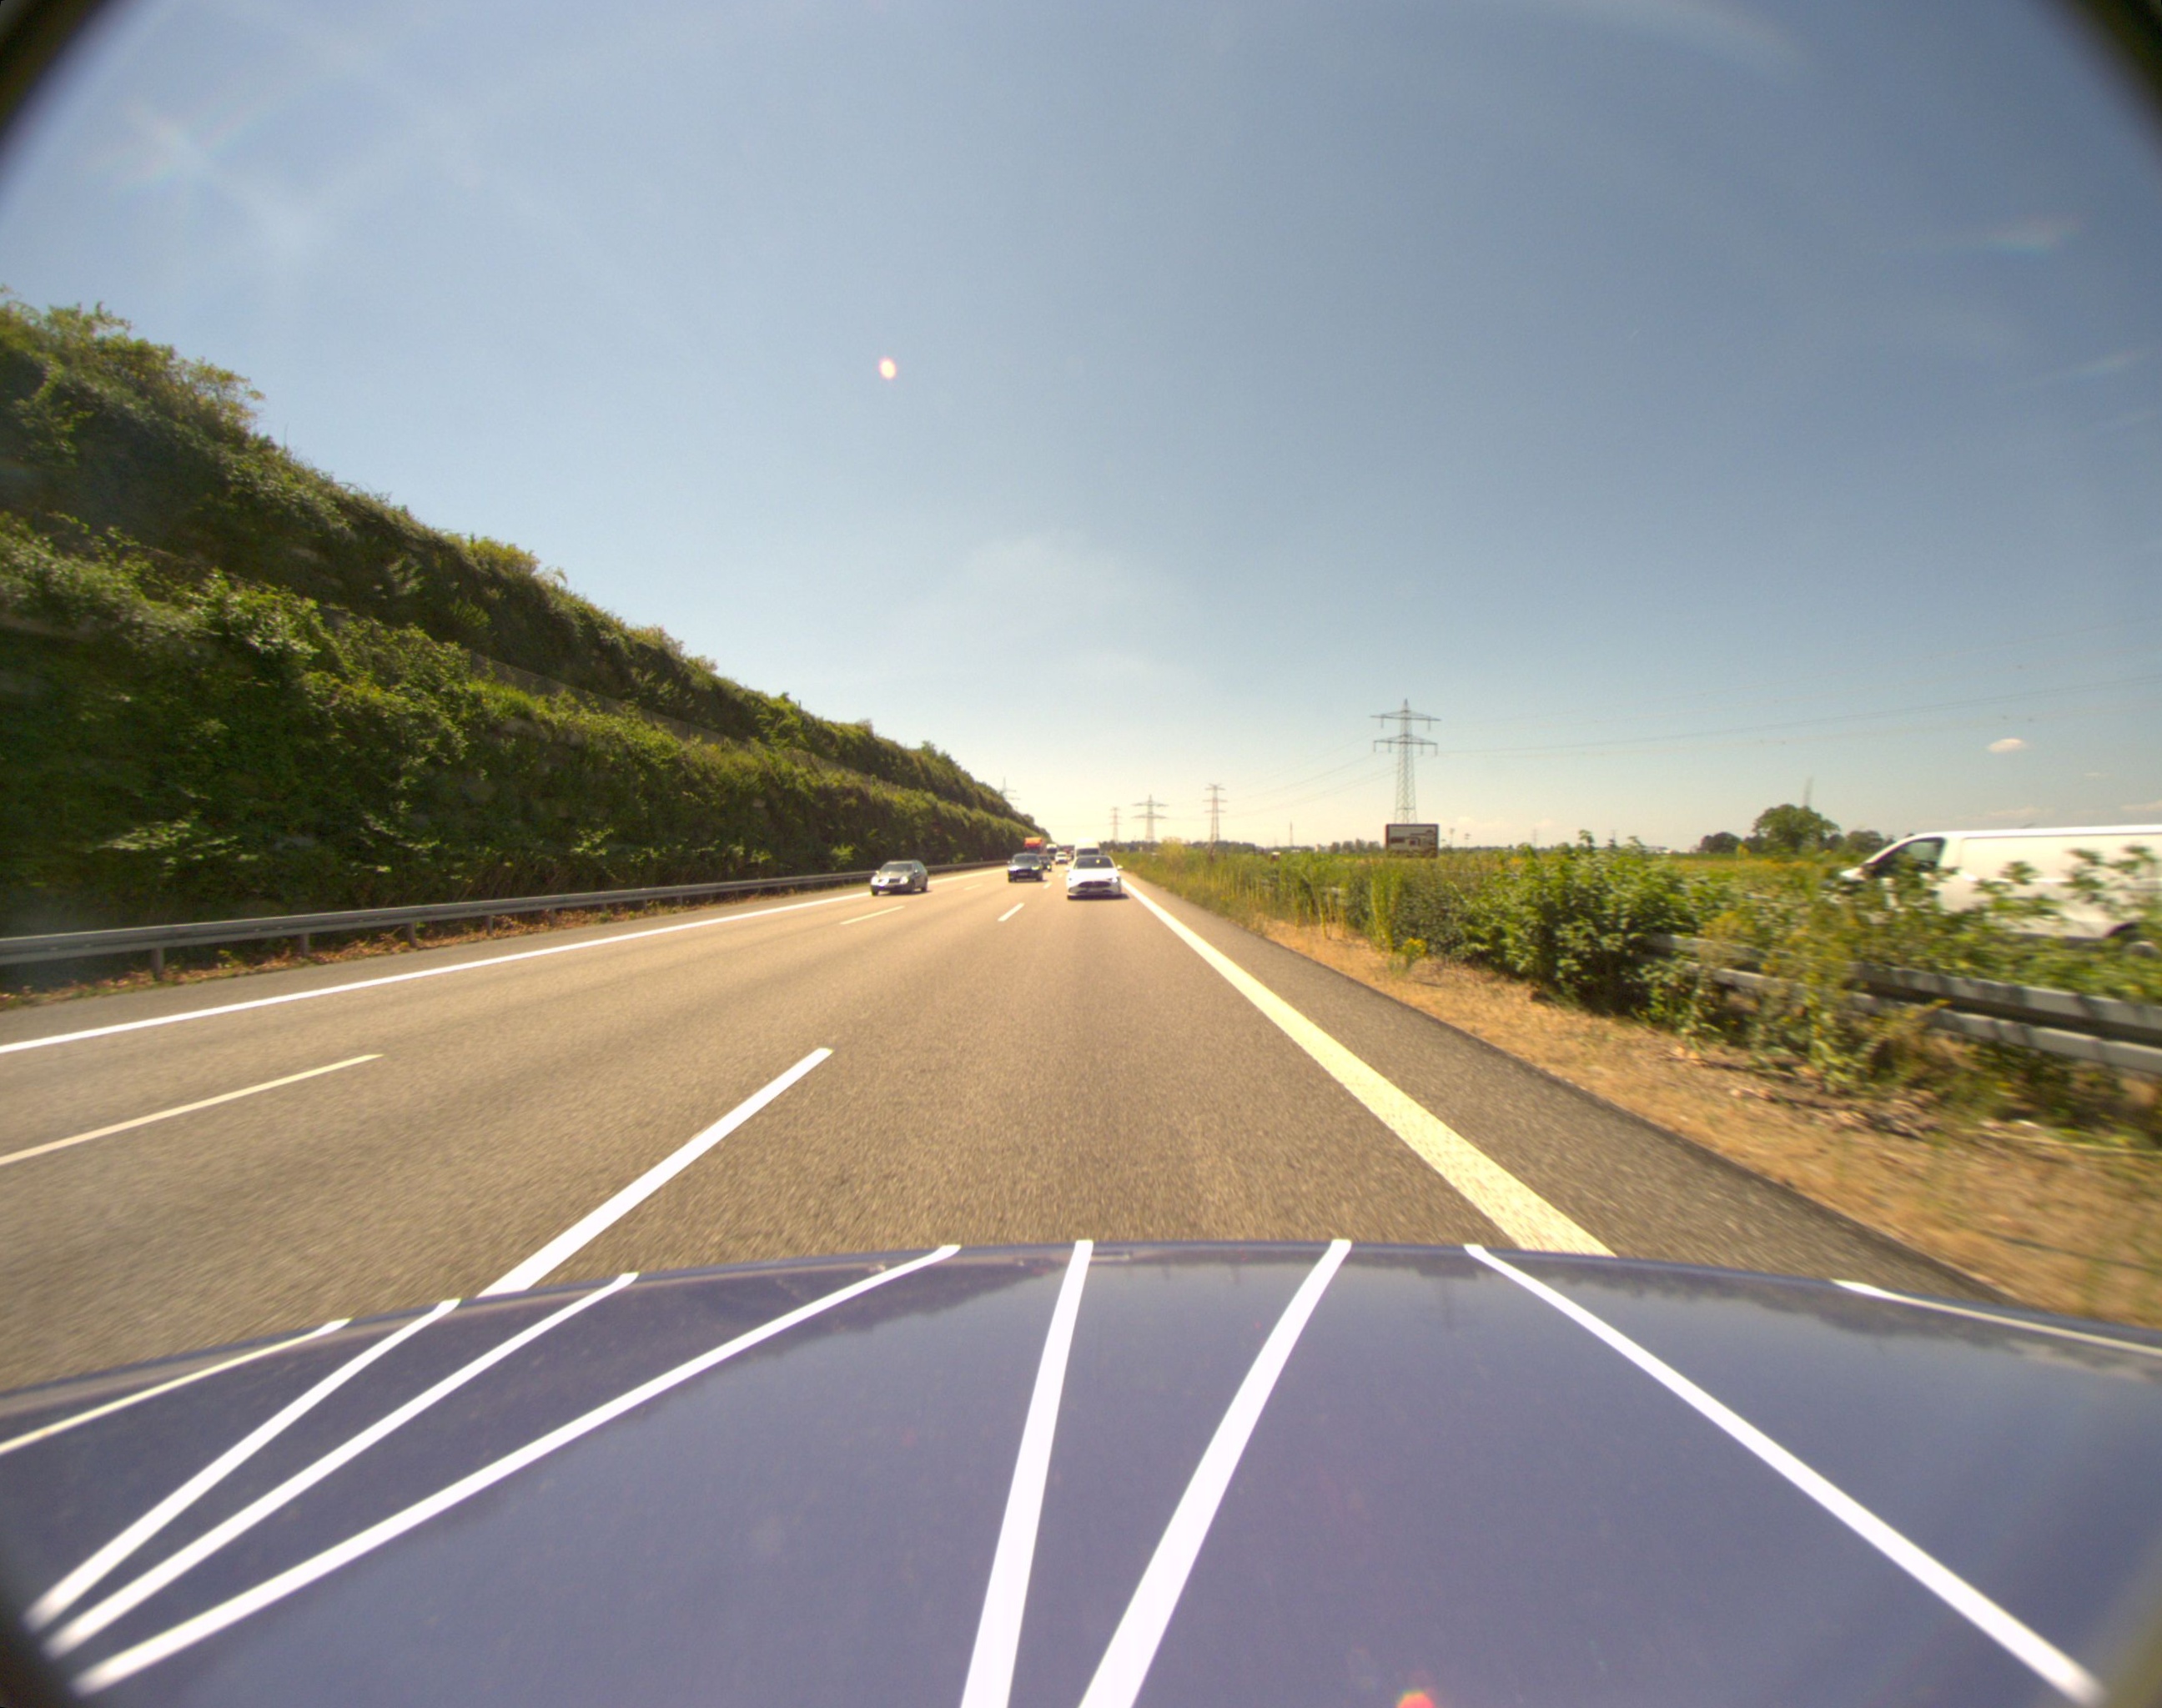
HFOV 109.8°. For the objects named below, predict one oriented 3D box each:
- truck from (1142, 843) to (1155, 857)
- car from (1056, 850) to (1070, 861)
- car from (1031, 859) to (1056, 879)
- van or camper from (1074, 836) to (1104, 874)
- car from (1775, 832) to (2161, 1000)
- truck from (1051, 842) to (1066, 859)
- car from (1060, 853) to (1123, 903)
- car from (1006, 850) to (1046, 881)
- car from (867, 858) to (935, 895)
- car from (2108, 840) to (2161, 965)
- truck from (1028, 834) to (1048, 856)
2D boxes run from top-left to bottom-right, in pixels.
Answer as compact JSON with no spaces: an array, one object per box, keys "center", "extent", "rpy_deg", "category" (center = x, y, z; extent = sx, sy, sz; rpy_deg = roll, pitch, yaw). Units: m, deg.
[{"center":[19.396,-1.172,219.532],"extent":[3.214,4.060,9.648],"rpy_deg":[0,1,2],"category":"truck"},{"center":[-2.633,0.192,112.511],"extent":[1.984,1.525,4.137],"rpy_deg":[-1,0,0],"category":"car"},{"center":[-3.393,1.359,69.324],"extent":[1.984,1.671,4.558],"rpy_deg":[-1,0,0],"category":"car"},{"center":[0.670,0.061,58.911],"extent":[1.998,2.741,5.410],"rpy_deg":[-2,1,2],"category":"van or camper"},{"center":[13.674,0.700,10.965],"extent":[2.002,1.975,5.838],"rpy_deg":[-1,0,0],"category":"car"},{"center":[-5.249,-0.947,179.715],"extent":[3.507,3.891,9.646],"rpy_deg":[0,1,-1],"category":"truck"},{"center":[0.365,0.778,26.873],"extent":[1.984,1.525,4.558],"rpy_deg":[-2,0,0],"category":"car"},{"center":[-3.228,0.640,45.163],"extent":[1.984,1.671,4.558],"rpy_deg":[-1,0,0],"category":"car"},{"center":[-7.796,0.949,33.379],"extent":[1.840,1.403,4.558],"rpy_deg":[-2,0,0],"category":"car"},{"center":[17.949,0.758,10.583],"extent":[1.900,1.967,3.986],"rpy_deg":[-1,0,0],"category":"car"},{"center":[-6.409,-1.360,113.893],"extent":[2.581,3.204,5.712],"rpy_deg":[-2,1,0],"category":"truck"}]
